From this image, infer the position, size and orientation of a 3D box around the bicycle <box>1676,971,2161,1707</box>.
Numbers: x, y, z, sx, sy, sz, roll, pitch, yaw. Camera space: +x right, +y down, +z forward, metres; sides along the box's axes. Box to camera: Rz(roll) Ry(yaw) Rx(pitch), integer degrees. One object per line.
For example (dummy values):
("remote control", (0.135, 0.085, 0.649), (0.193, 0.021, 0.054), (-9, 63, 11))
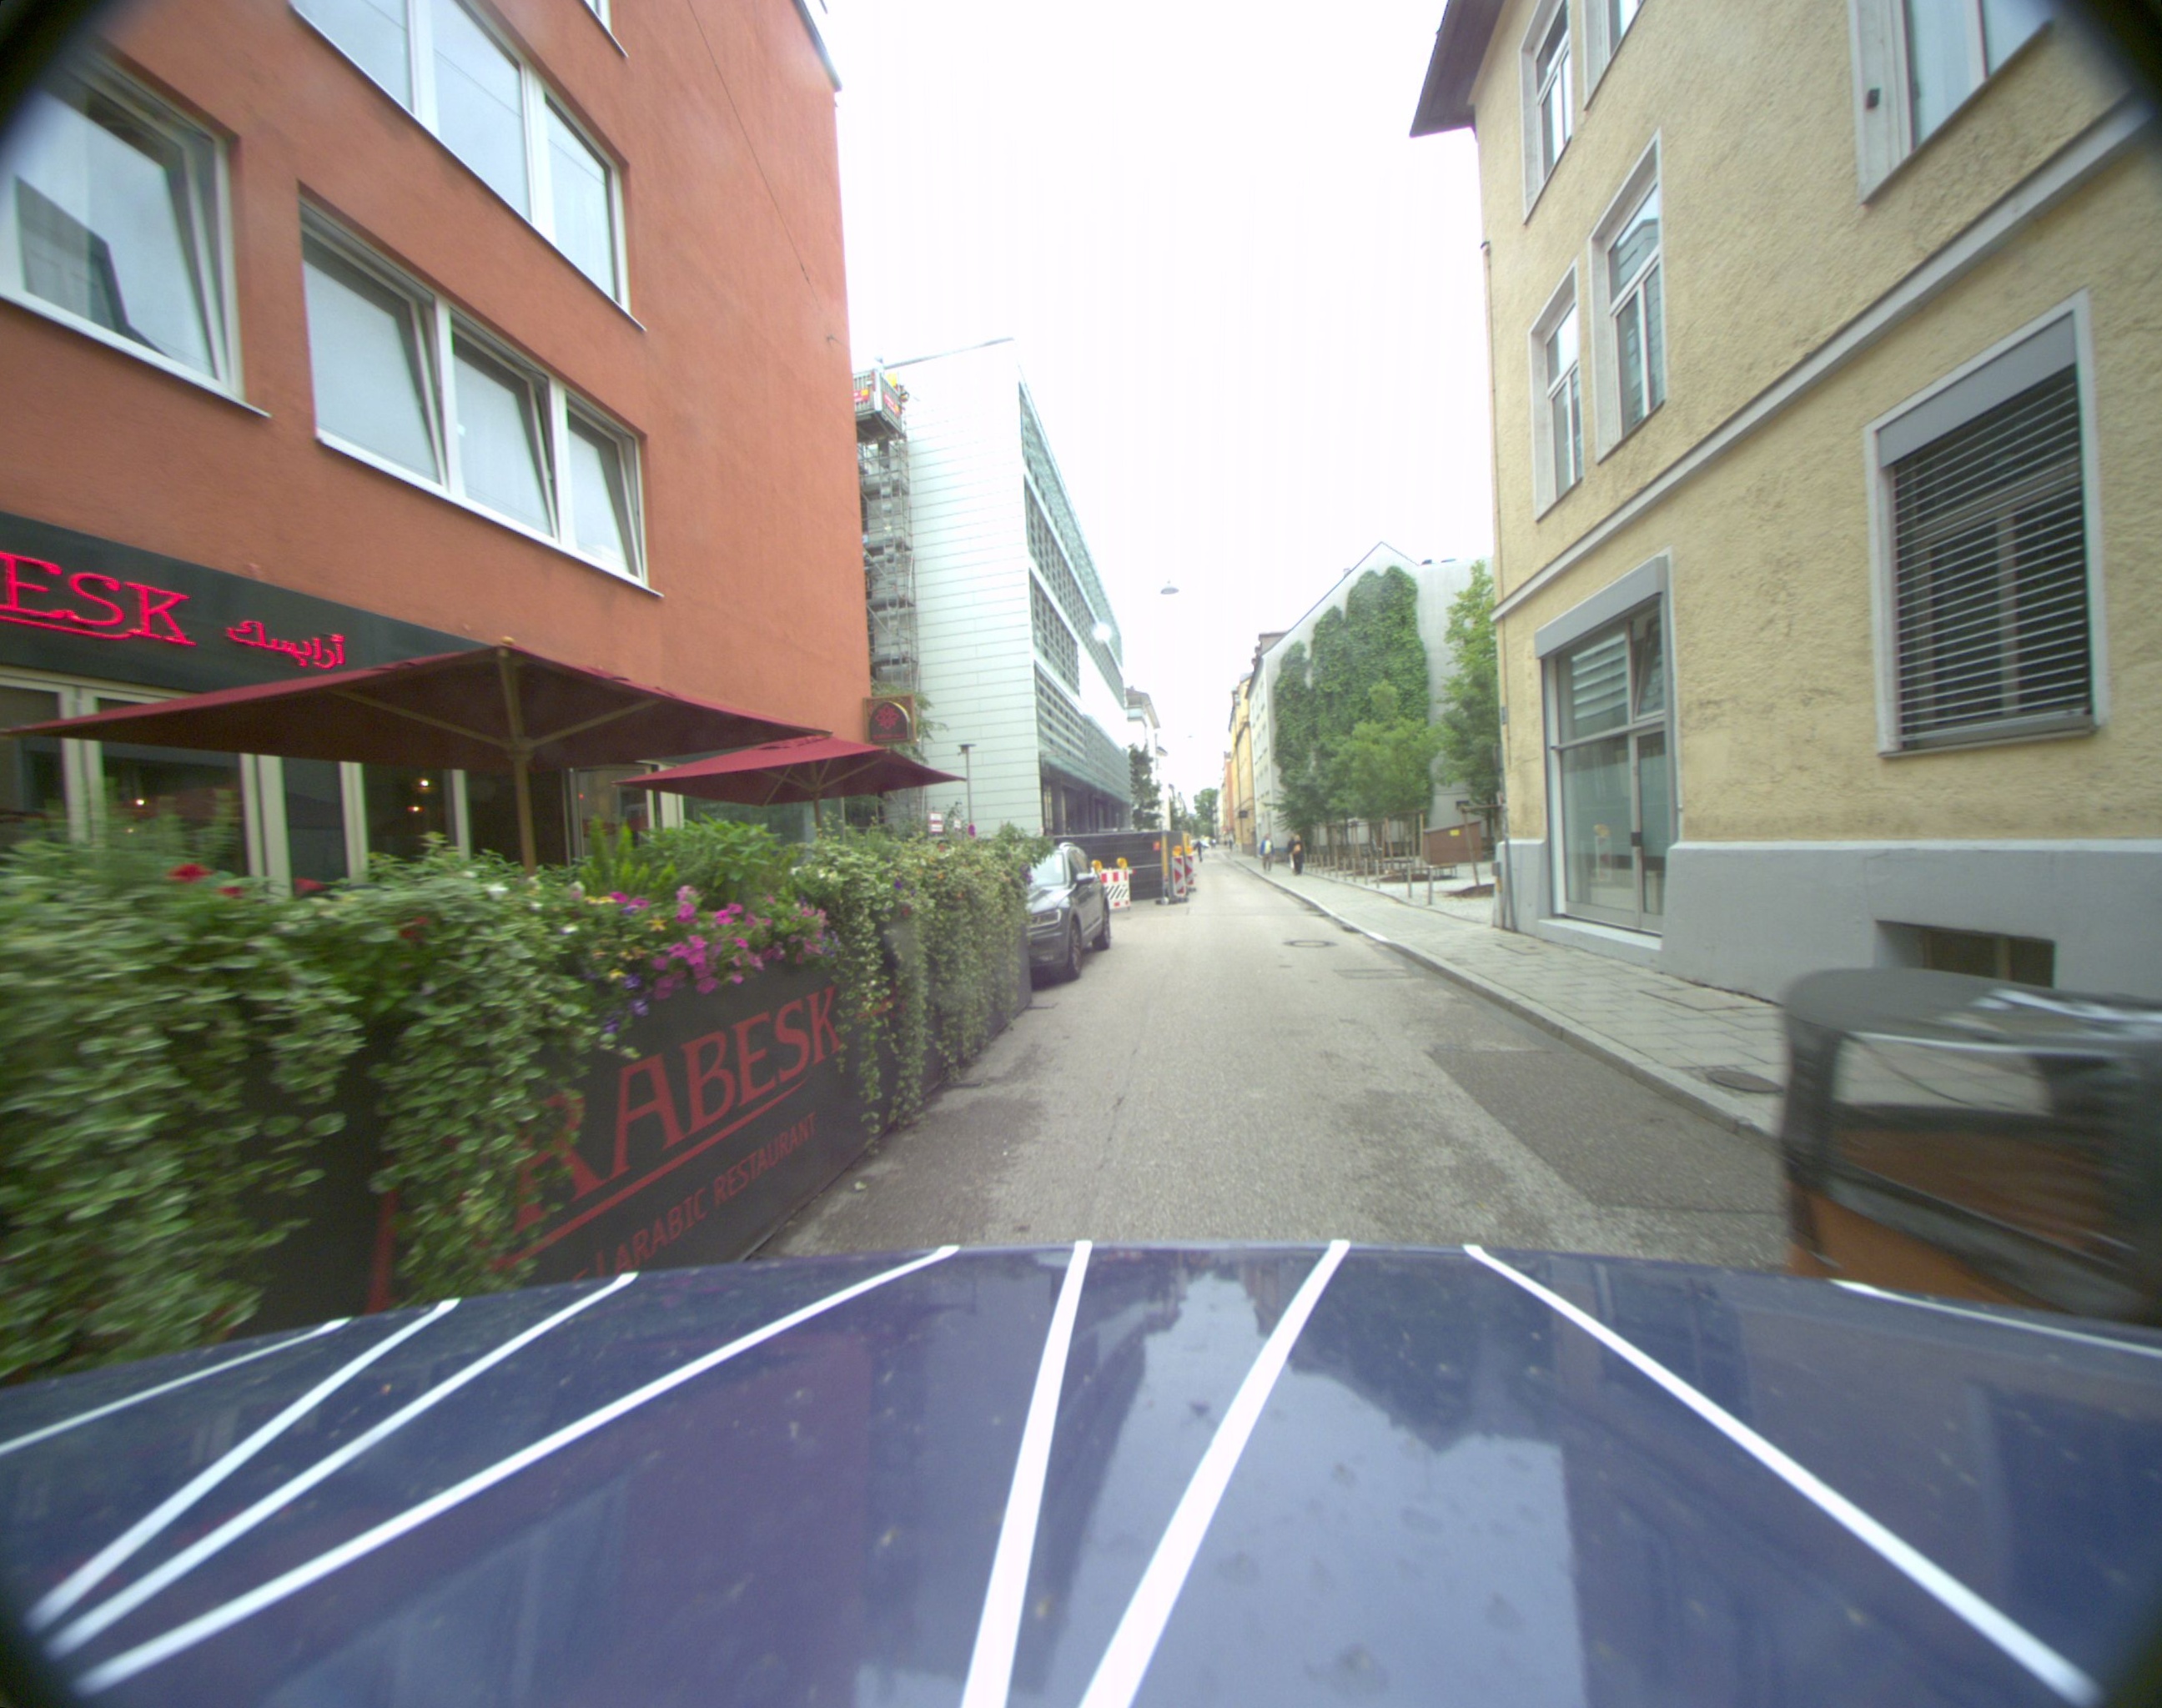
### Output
("bicycle", (1.781, 0.945, 0.641), (0.933, 1.250, 2.415), (-2, 2, 8))

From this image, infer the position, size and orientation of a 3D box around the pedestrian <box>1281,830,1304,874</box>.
("pedestrian", (9.144, -0.085, 32.901), (0.777, 1.826, 0.992), (-3, 1, 9))

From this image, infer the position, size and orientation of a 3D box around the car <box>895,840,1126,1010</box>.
("car", (-0.641, 0.729, 10.218), (1.827, 1.700, 4.392), (-4, 1, 11))

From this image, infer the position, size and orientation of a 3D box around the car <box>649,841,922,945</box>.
("car", (-5.558, 0.711, 14.543), (4.470, 1.710, 1.841), (-2, 1, 9))

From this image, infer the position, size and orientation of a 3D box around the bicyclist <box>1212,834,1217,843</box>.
("bicyclist", (22.293, -2.543, 126.985), (0.700, 1.400, 0.769), (-3, 1, 8))

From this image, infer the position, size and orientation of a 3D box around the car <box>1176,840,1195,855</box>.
("car", (11.112, -0.714, 80.589), (1.808, 1.390, 4.002), (-3, 1, 9))

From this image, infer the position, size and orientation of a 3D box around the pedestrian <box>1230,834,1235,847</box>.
("pedestrian", (20.026, -1.779, 100.279), (0.493, 1.814, 0.553), (-2, 1, 9))

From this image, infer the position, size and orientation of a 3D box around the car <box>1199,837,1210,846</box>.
("car", (23.777, -2.373, 146.137), (1.997, 1.583, 4.377), (-3, 1, 9))

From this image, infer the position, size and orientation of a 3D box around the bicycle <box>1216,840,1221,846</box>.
("bicycle", (23.453, -1.898, 129.458), (0.700, 0.926, 1.695), (-3, 1, 9))

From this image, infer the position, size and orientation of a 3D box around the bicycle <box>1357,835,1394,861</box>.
("bicycle", (14.437, -0.299, 37.266), (0.714, 1.202, 1.997), (-5, 1, -8))

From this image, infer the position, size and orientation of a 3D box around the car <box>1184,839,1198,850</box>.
("car", (14.104, -1.204, 97.289), (1.624, 1.259, 4.331), (-3, 1, 9))

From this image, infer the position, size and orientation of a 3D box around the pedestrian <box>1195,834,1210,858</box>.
("pedestrian", (9.882, -0.623, 62.008), (0.746, 1.892, 0.877), (-4, 1, -23))

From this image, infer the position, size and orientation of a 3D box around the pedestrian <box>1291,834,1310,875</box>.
("pedestrian", (9.152, 0.024, 31.714), (0.553, 1.650, 0.998), (-3, 1, 9))

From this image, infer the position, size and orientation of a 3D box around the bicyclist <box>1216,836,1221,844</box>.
("bicyclist", (23.449, -2.427, 129.578), (0.718, 1.400, 0.966), (-3, 1, 8))

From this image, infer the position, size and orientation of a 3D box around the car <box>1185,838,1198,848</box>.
("car", (17.438, -1.741, 119.630), (1.792, 1.550, 4.002), (-3, 1, 9))

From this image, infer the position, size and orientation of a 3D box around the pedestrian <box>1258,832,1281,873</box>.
("pedestrian", (8.786, -0.089, 35.403), (0.860, 1.834, 0.974), (-4, 1, 11))
